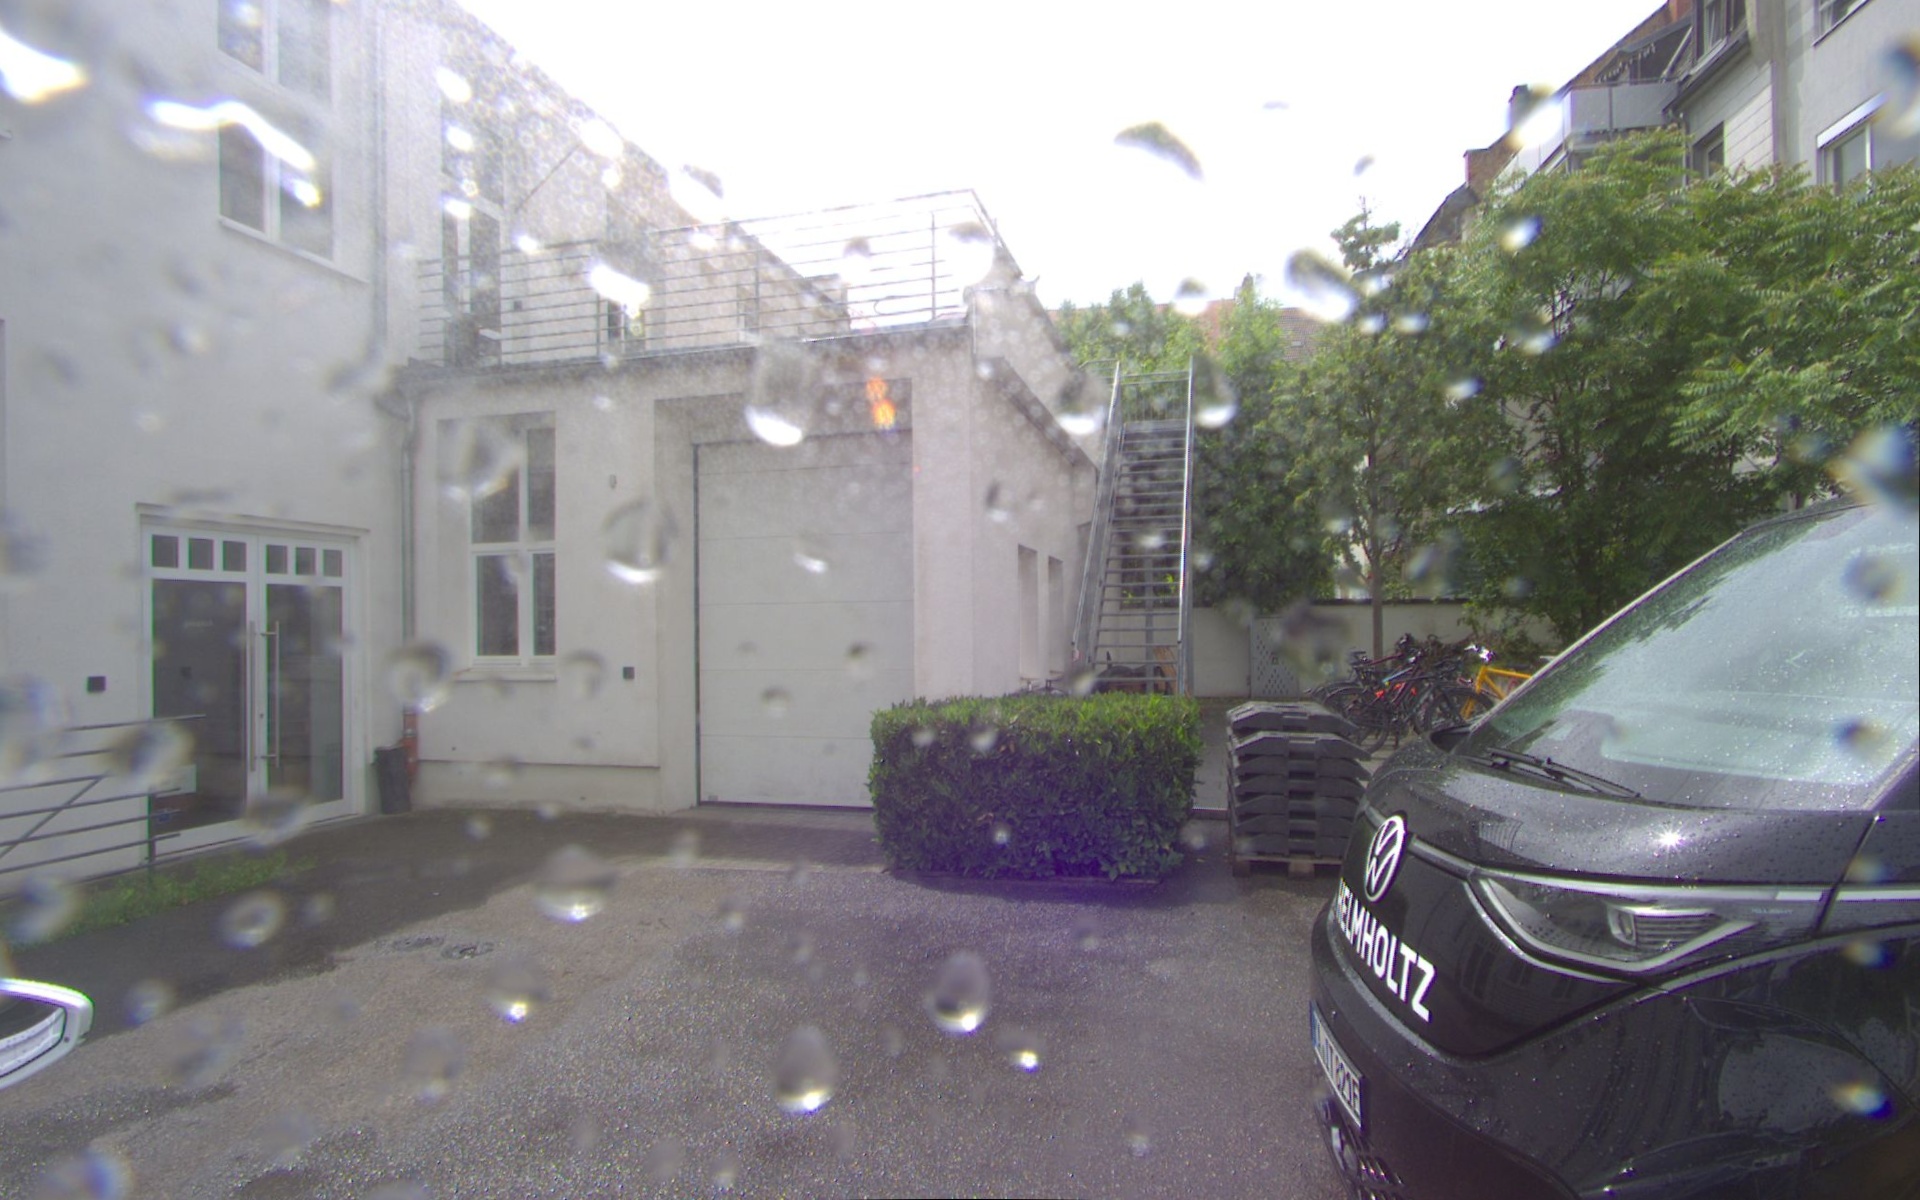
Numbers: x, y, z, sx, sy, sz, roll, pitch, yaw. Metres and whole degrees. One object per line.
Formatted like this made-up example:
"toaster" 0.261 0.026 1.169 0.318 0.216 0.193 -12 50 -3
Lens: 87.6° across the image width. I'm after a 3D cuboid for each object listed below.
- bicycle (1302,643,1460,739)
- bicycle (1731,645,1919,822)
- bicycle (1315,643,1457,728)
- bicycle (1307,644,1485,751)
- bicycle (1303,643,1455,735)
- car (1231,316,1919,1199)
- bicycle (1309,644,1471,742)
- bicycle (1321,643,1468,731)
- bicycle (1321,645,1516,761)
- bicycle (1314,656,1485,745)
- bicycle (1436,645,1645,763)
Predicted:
"bicycle" 5.096 1.094 12.177 1.722 1.118 0.342 -1 0 9
"bicycle" 6.557 0.928 7.523 0.438 1.118 1.795 -3 -1 12
"bicycle" 5.701 1.137 13.452 1.722 1.118 0.342 -1 0 9
"bicycle" 4.772 1.053 11.040 1.764 1.118 0.354 -1 0 17
"bicycle" 5.261 1.109 12.633 1.722 1.118 0.345 -1 0 9
"car" 3.085 0.564 1.986 4.657 1.888 1.971 -2 -2 8
"bicycle" 5.055 1.081 11.821 1.722 1.118 0.333 -1 0 9
"bicycle" 5.652 1.124 13.091 1.722 1.118 0.355 -1 0 9
"bicycle" 4.642 1.024 10.241 1.764 1.118 0.405 -1 0 17
"bicycle" 5.015 1.137 11.479 1.762 0.980 0.330 -1 0 9
"bicycle" 5.771 1.016 10.033 1.764 1.118 0.366 -1 0 17
